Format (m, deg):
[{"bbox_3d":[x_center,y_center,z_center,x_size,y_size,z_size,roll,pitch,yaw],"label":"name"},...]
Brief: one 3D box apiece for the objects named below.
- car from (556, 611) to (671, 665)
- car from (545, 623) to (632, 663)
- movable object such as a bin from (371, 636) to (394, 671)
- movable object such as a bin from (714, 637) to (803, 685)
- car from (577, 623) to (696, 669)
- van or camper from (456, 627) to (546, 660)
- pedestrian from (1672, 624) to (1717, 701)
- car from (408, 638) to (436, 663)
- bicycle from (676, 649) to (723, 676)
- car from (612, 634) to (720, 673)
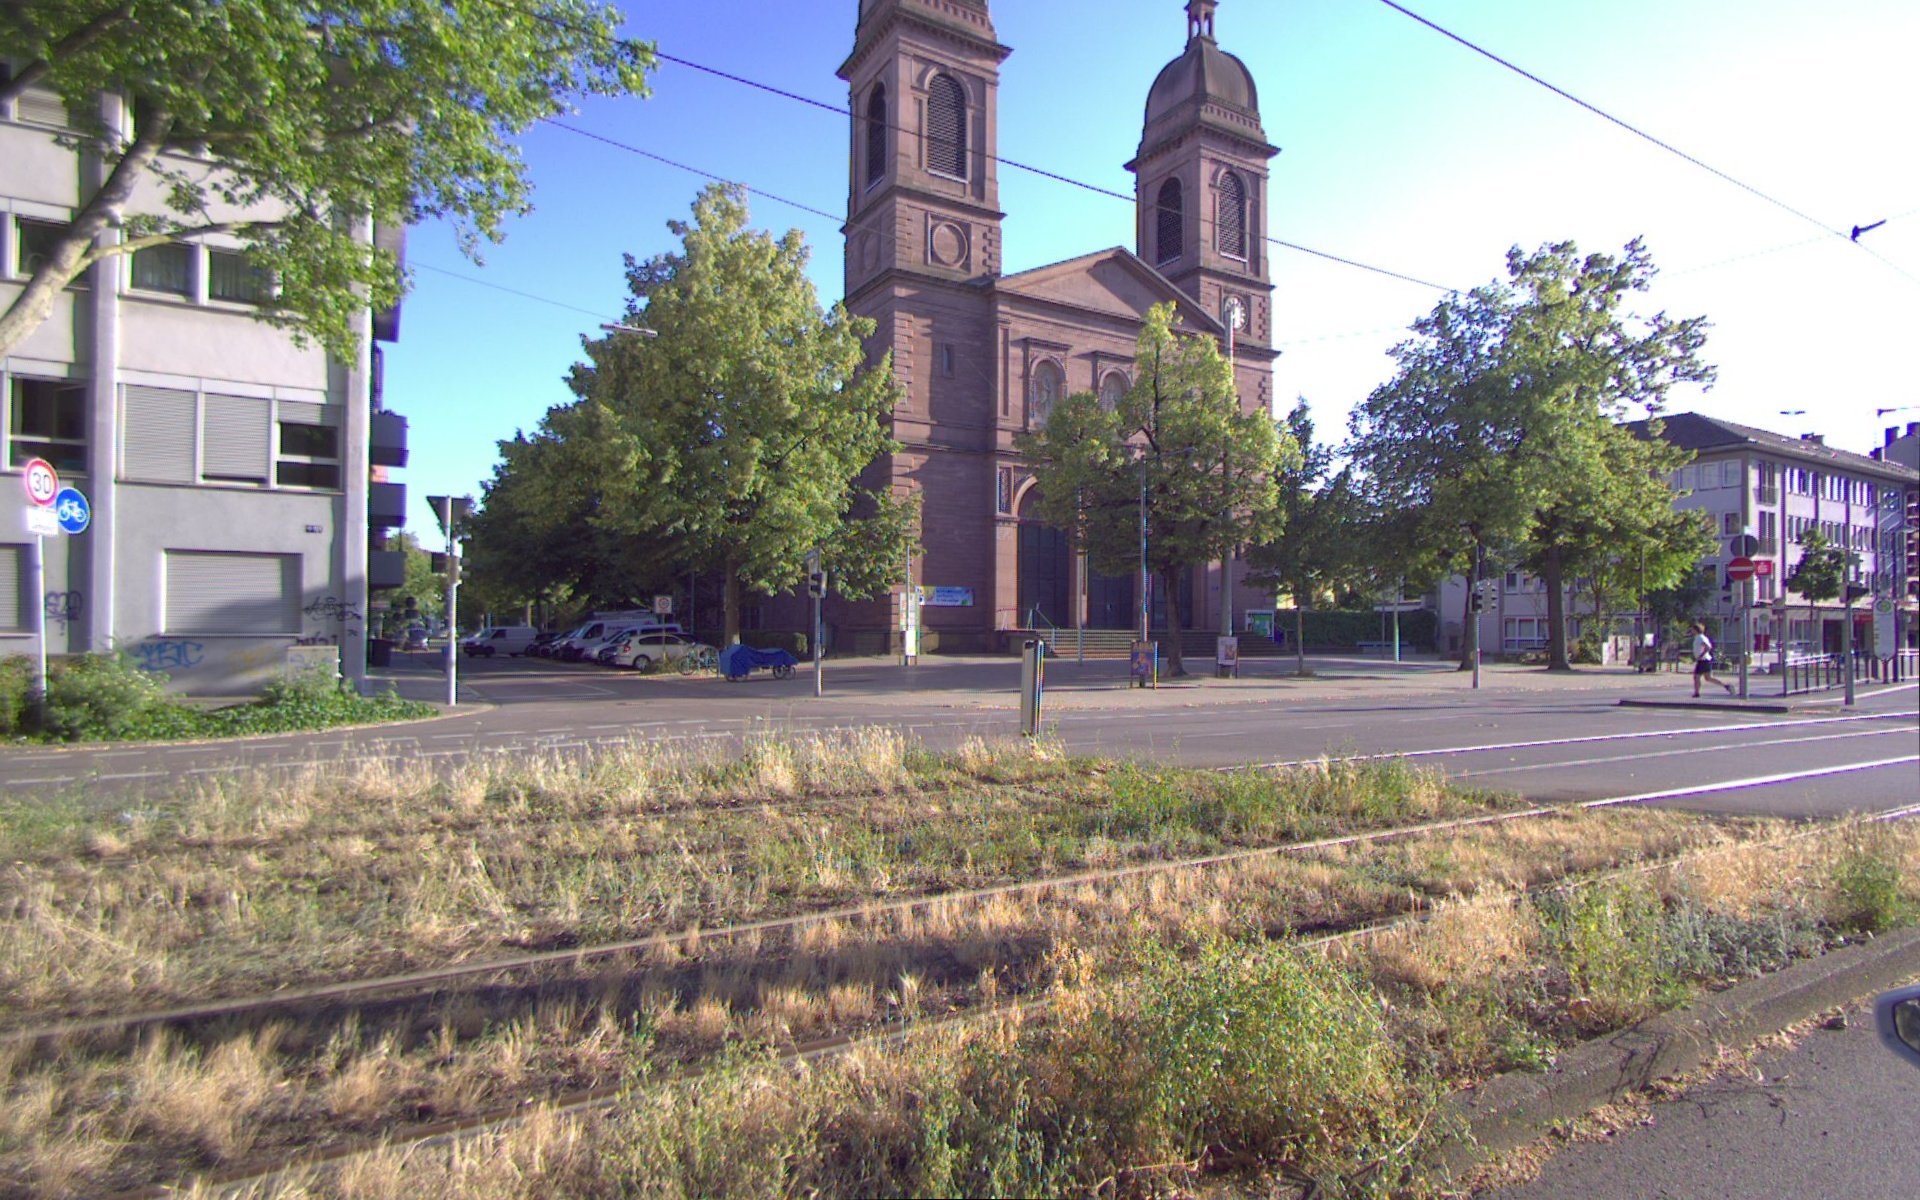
[{"bbox_3d":[-18.303,1.990,53.108,5.382,2.710,1.980,2,0,-36],"label":"car"},{"bbox_3d":[-20.432,2.335,55.265,4.174,2.040,1.981,2,0,-34],"label":"car"},{"bbox_3d":[-22.310,2.055,38.805,0.737,1.323,0.865,1,-2,-32],"label":"movable object such as a bin"},{"bbox_3d":[-6.160,1.850,30.711,2.416,1.228,1.102,-3,2,-30],"label":"movable object such as a bin"},{"bbox_3d":[-15.530,2.204,48.315,5.121,2.040,1.981,2,0,-34],"label":"car"},{"bbox_3d":[-29.897,2.814,65.608,1.964,2.040,5.126,0,-2,29],"label":"van or camper"},{"bbox_3d":[17.622,1.486,24.114,0.680,1.794,0.676,1,-2,-33],"label":"pedestrian"},{"bbox_3d":[-45.780,4.248,85.467,1.976,2.040,3.970,1,-2,-29],"label":"car"},{"bbox_3d":[-9.068,2.184,34.962,1.517,0.904,0.465,2,0,-27],"label":"bicycle"},{"bbox_3d":[-12.234,2.202,41.821,3.953,1.479,1.984,2,0,-30],"label":"car"}]
